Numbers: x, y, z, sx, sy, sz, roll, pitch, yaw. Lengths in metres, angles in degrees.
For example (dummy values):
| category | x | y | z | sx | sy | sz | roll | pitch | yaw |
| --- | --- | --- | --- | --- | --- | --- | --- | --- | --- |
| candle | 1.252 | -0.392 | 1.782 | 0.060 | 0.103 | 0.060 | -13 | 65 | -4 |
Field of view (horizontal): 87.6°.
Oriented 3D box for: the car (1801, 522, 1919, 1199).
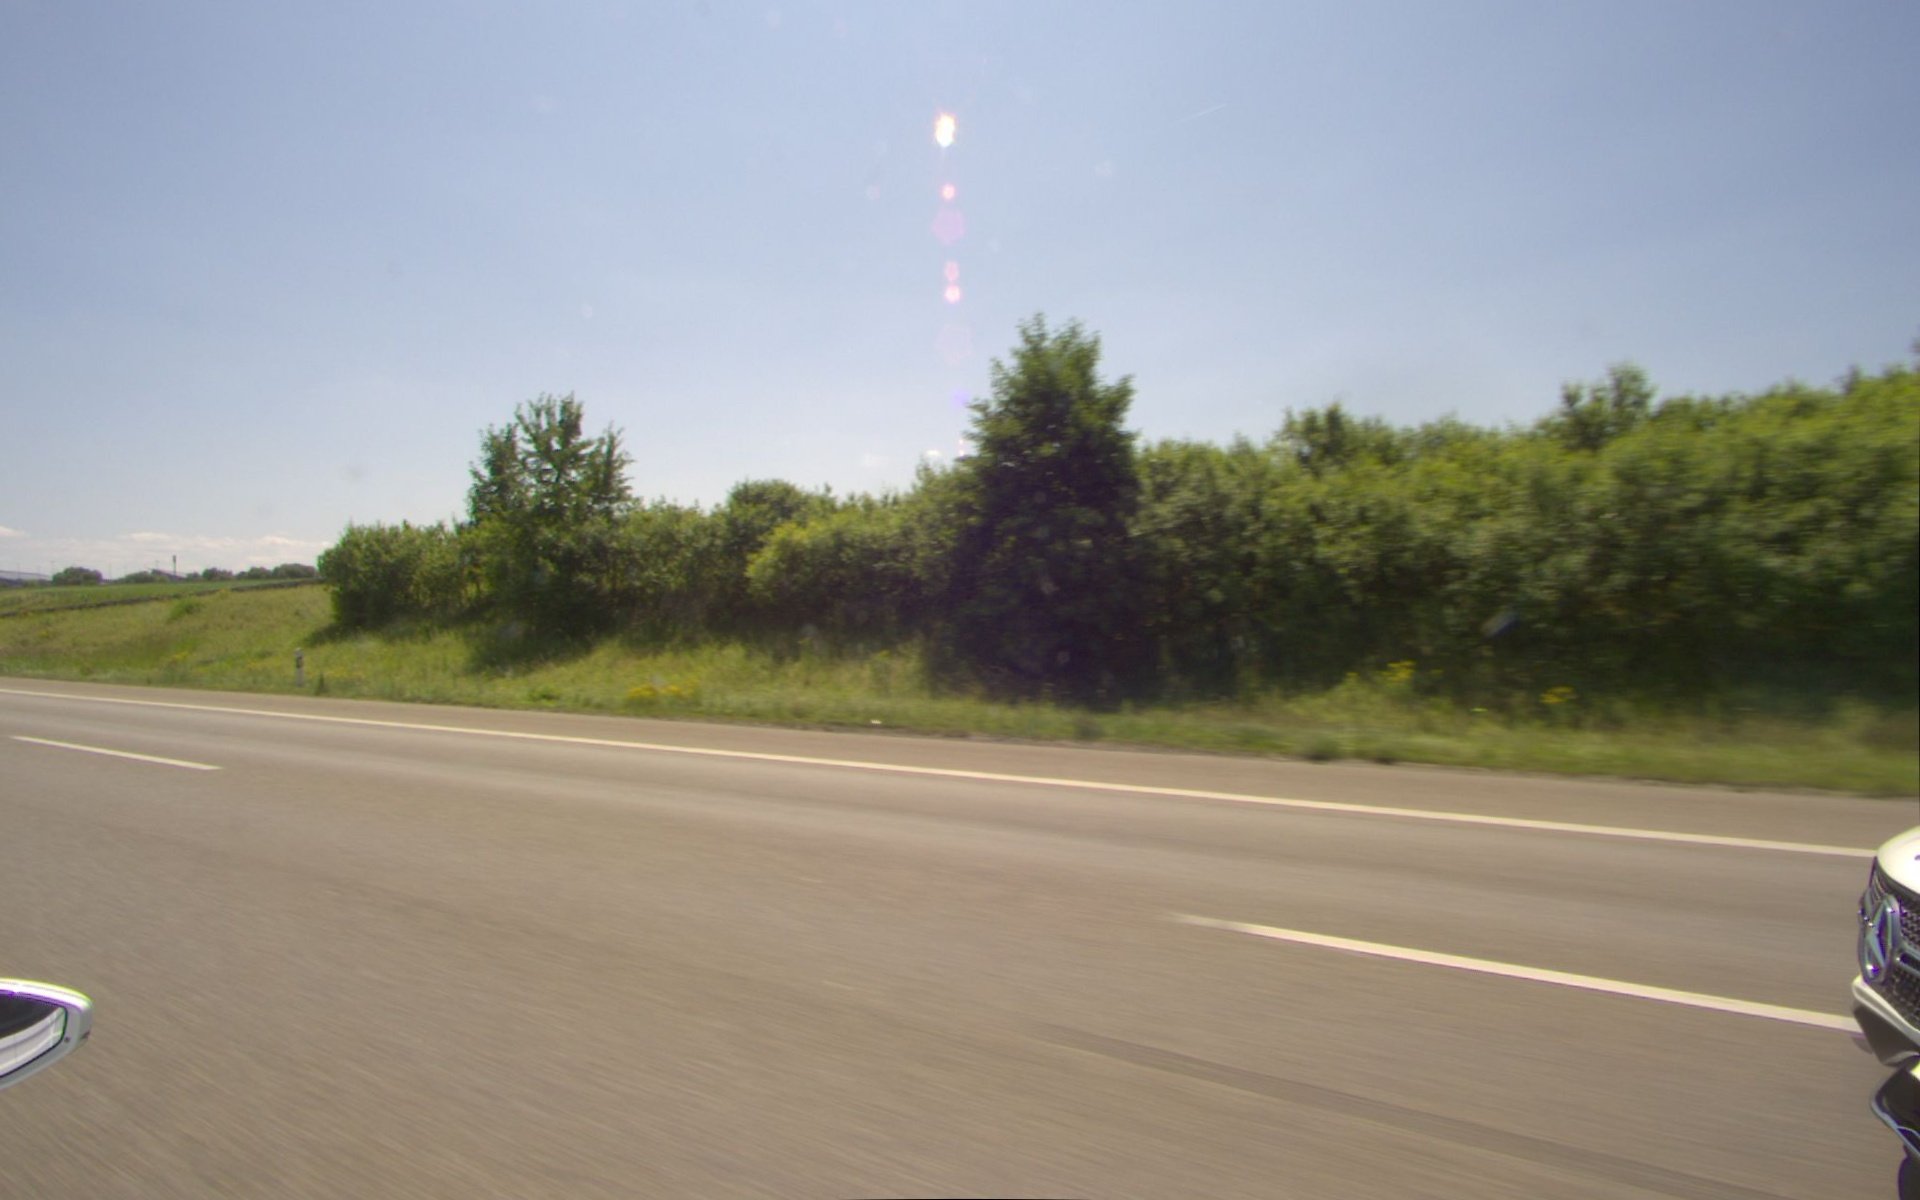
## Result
| category | x | y | z | sx | sy | sz | roll | pitch | yaw |
| --- | --- | --- | --- | --- | --- | --- | --- | --- | --- |
| car | 4.171 | 0.643 | 1.206 | 4.570 | 1.677 | 1.902 | -1 | -2 | 32 |
